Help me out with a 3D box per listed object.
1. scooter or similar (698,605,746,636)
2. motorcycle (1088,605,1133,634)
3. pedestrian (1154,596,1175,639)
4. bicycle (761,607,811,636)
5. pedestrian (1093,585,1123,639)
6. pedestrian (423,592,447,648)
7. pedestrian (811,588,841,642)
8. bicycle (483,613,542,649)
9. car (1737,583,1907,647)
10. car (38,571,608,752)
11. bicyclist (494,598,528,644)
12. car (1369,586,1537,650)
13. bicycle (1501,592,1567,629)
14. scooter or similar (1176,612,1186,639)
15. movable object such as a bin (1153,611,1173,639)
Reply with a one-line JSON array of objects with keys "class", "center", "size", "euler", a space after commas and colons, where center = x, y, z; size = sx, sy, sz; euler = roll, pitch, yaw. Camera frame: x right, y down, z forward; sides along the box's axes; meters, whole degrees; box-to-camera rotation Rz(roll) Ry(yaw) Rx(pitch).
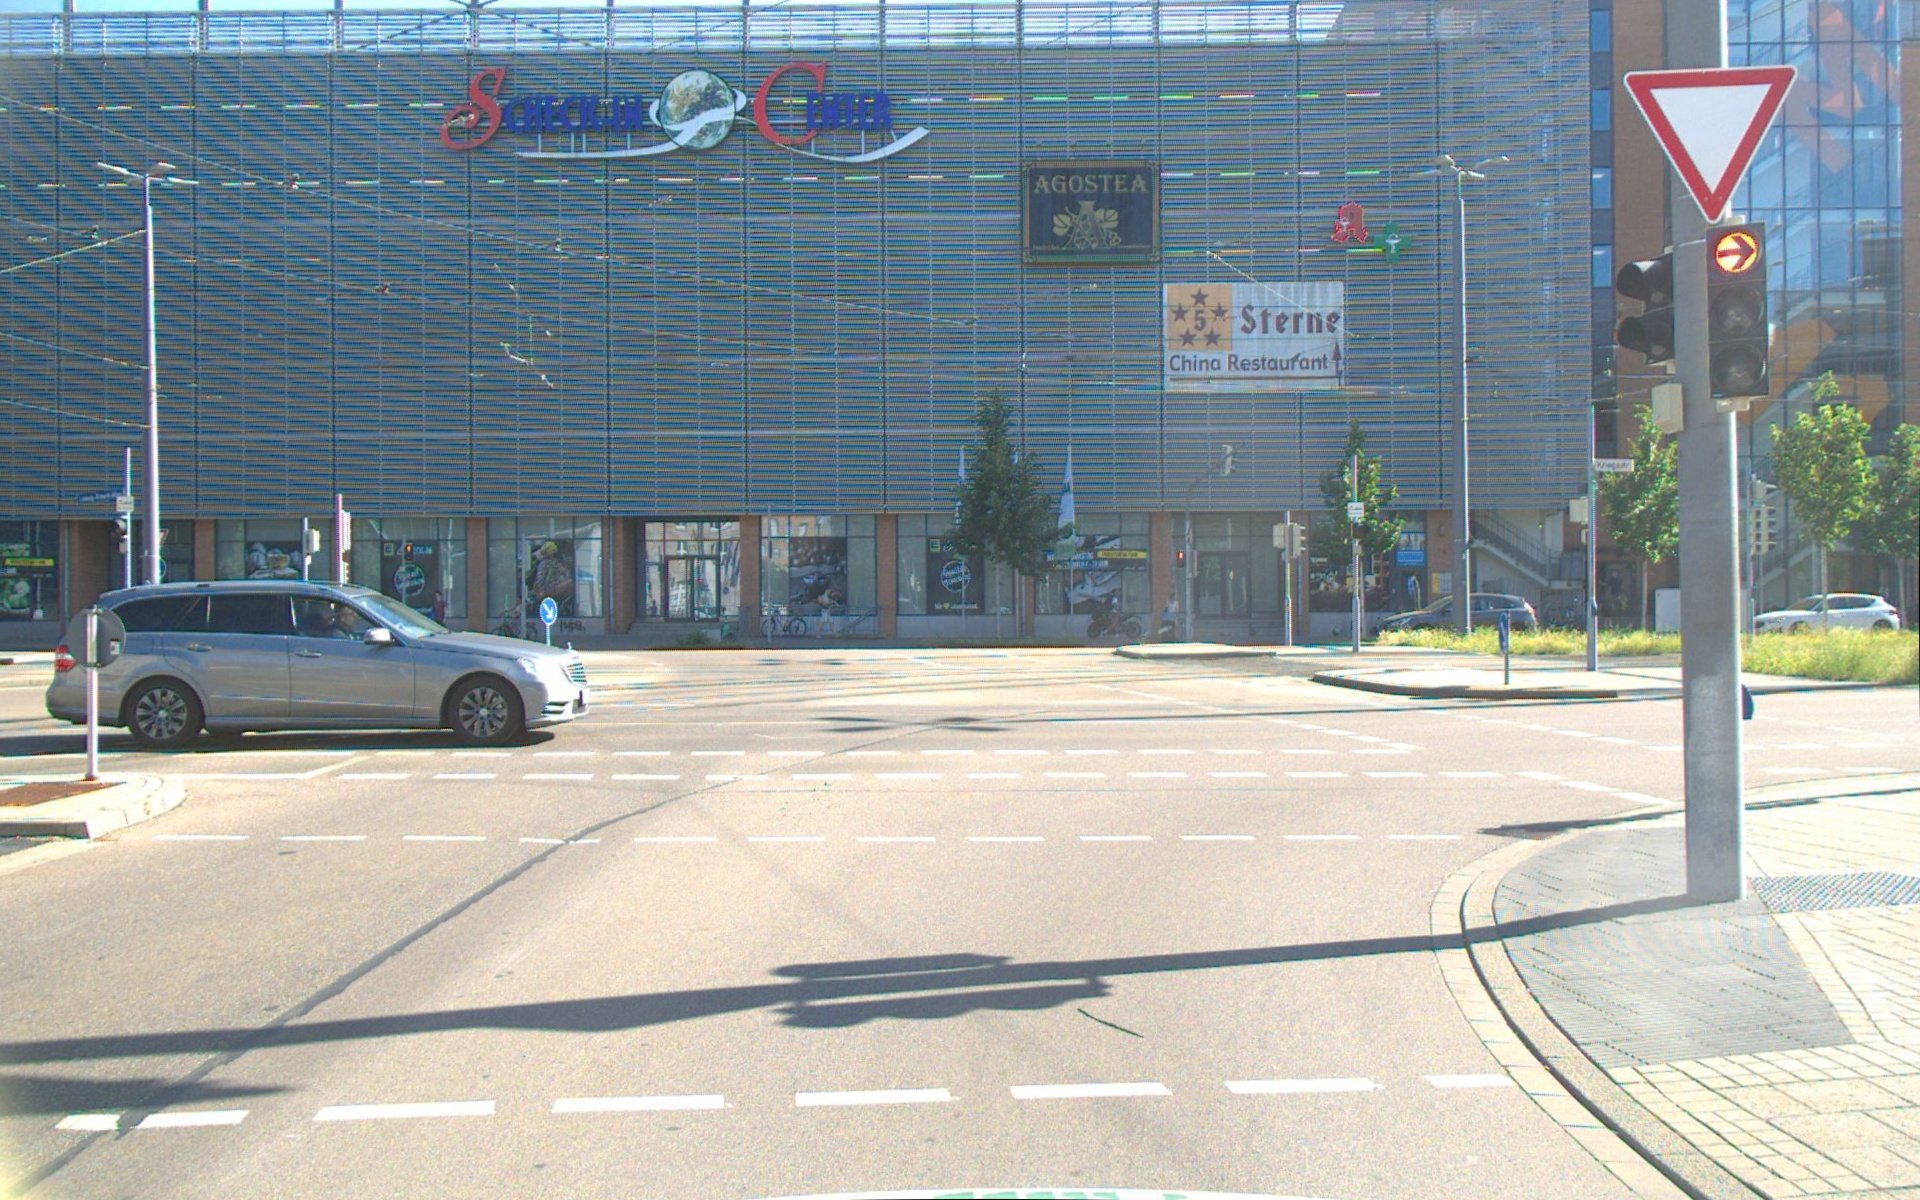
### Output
[{"class": "scooter or similar", "center": [-8.745, 0.748, 60.773], "size": [1.759, 1.085, 0.611], "euler": [0, 1, -9]}, {"class": "motorcycle", "center": [5.530, 0.728, 60.702], "size": [1.605, 1.022, 0.447], "euler": [1, 0, 6]}, {"class": "pedestrian", "center": [6.858, 0.578, 55.358], "size": [0.641, 1.438, 0.850], "euler": [1, 0, 10]}, {"class": "bicycle", "center": [-6.365, 0.779, 60.426], "size": [1.783, 1.006, 0.556], "euler": [0, 1, -11]}, {"class": "pedestrian", "center": [5.295, 0.428, 59.199], "size": [0.991, 1.860, 1.036], "euler": [-2, 0, 3]}, {"class": "pedestrian", "center": [-17.337, 0.663, 54.661], "size": [0.683, 1.829, 0.727], "euler": [-2, 0, -17]}, {"class": "pedestrian", "center": [-4.819, 0.543, 59.424], "size": [0.930, 1.860, 0.846], "euler": [-2, -4, 5]}, {"class": "bicycle", "center": [-14.766, 1.007, 54.613], "size": [0.559, 1.105, 1.852], "euler": [0, 2, 42]}, {"class": "car", "center": [26.143, 0.457, 50.219], "size": [4.206, 1.673, 1.839], "euler": [3, -1, -6]}, {"class": "car", "center": [-5.882, 0.538, 15.759], "size": [4.761, 1.599, 1.705], "euler": [0, 0, -5]}, {"class": "bicyclist", "center": [-14.798, 0.690, 54.537], "size": [0.663, 1.452, 0.844], "euler": [0, 2, 42]}, {"class": "car", "center": [13.671, 0.497, 46.041], "size": [4.063, 1.495, 1.840], "euler": [3, -1, -2]}, {"class": "bicycle", "center": [21.290, 0.391, 61.346], "size": [2.209, 1.318, 0.605], "euler": [1, -1, -2]}, {"class": "scooter or similar", "center": [7.367, 0.834, 55.184], "size": [0.288, 0.888, 1.004], "euler": [1, 0, 10]}, {"class": "movable object such as a bin", "center": [6.743, 0.832, 54.891], "size": [0.599, 0.920, 0.970], "euler": [1, 0, 10]}]
